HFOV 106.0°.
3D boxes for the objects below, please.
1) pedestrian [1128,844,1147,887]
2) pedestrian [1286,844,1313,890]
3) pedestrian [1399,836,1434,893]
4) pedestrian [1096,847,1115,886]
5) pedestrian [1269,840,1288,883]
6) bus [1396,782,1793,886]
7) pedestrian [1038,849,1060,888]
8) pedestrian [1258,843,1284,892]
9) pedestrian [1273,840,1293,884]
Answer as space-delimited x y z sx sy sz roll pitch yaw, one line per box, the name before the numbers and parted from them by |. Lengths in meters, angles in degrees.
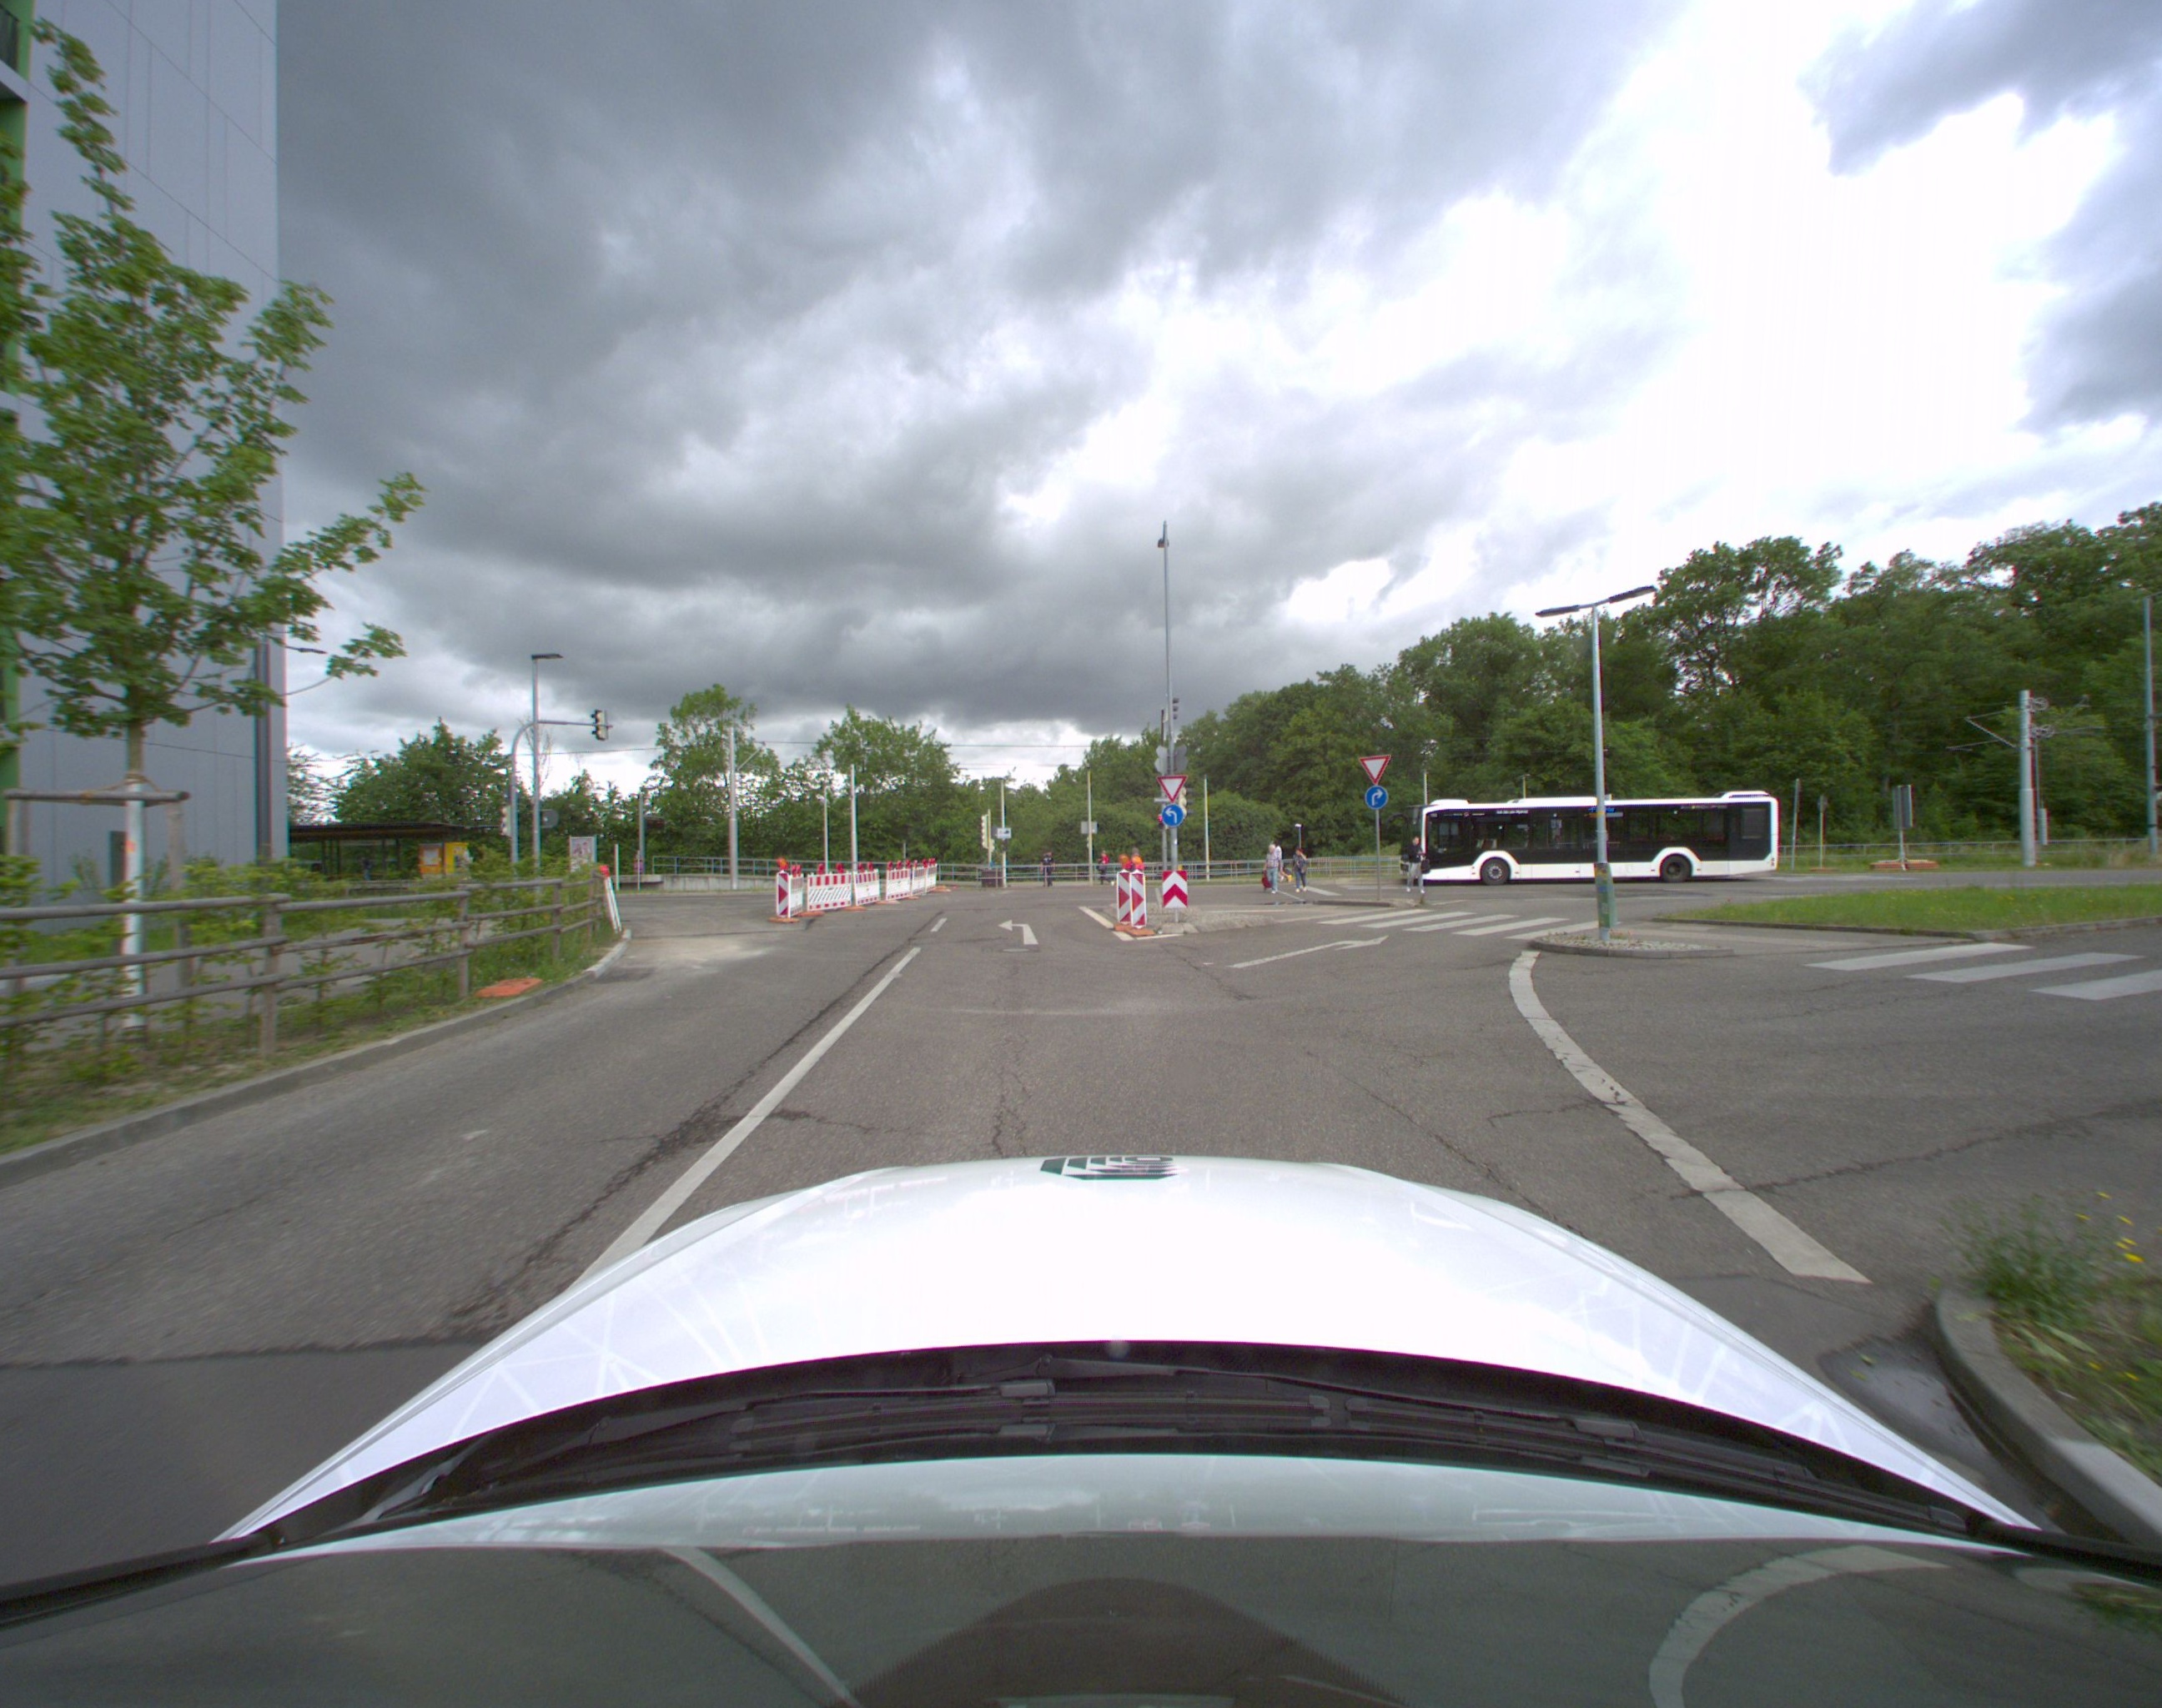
pedestrian | 2.314 0.454 33.504 0.717 1.747 0.959 -1 0 5
pedestrian | 7.466 0.441 27.824 0.683 1.567 0.737 -1 0 29
pedestrian | 10.501 0.323 25.444 0.946 1.747 1.068 -1 0 24
pedestrian | 1.054 0.518 34.363 0.717 1.621 0.806 -1 0 5
pedestrian | 8.198 0.312 33.798 0.715 1.747 0.960 -1 0 11
bus | 17.947 -0.653 29.199 12.099 3.203 2.679 -1 0 5
pedestrian | -1.444 0.661 36.841 0.952 1.747 0.721 -1 0 -4
pedestrian | 6.346 0.448 27.154 0.690 1.633 0.727 -1 0 24
pedestrian | 8.053 0.310 32.555 0.715 1.747 0.960 -1 0 11
